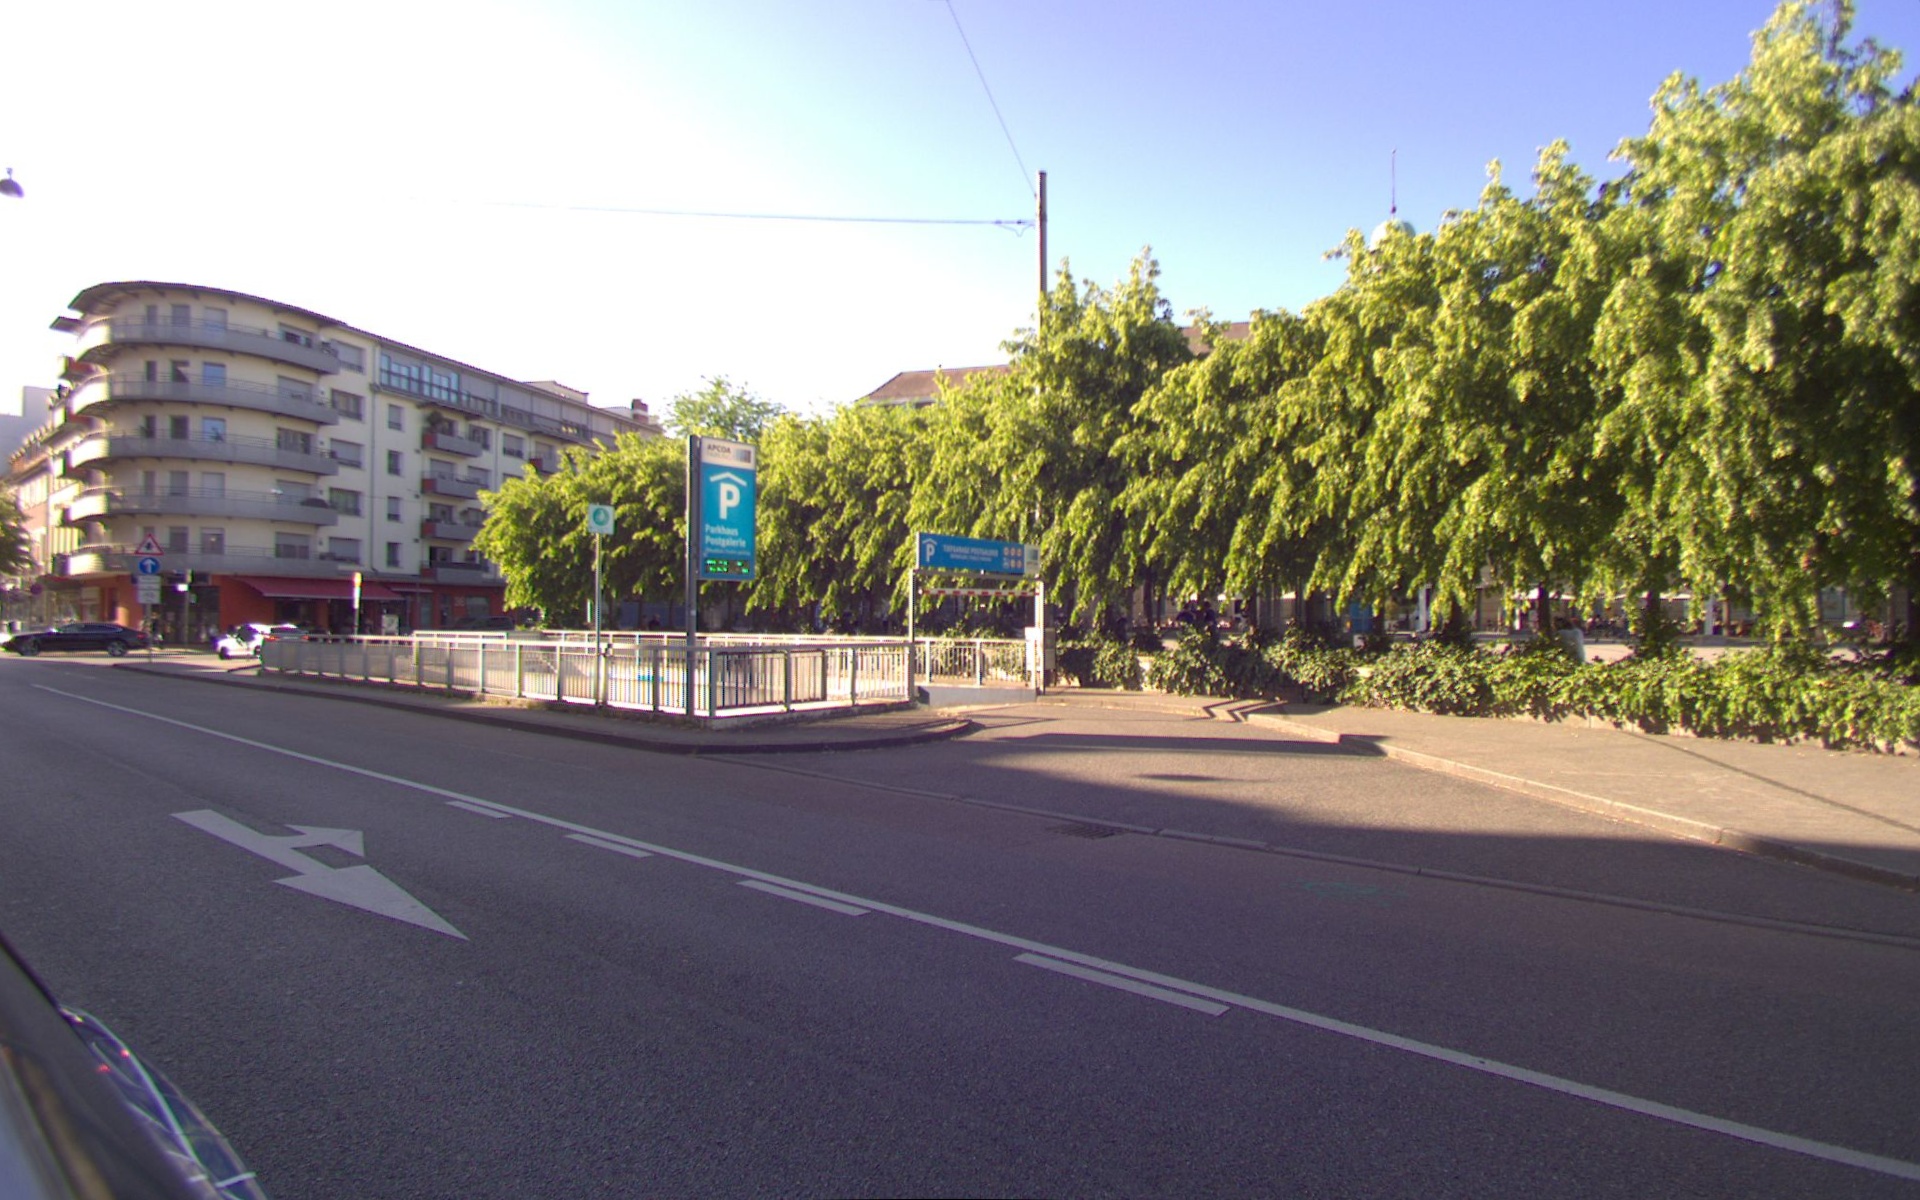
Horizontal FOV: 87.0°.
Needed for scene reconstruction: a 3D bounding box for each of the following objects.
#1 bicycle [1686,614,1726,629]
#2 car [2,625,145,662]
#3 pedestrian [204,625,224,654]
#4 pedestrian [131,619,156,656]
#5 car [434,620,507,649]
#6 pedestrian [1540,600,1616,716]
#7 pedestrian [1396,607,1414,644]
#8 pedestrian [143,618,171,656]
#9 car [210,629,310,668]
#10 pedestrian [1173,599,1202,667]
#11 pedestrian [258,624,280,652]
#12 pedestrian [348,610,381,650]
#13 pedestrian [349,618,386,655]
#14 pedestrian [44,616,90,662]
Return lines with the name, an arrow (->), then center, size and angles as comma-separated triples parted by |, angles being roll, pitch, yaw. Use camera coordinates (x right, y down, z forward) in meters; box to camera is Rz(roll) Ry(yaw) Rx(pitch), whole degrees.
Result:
bicycle -> 46.737, 1.341, 63.431 | 1.893, 0.961, 0.585 | -1, -1, 21
car -> -36.058, 1.721, 41.351 | 4.219, 1.394, 2.005 | 0, -1, -36
pedestrian -> -37.741, 1.986, 51.208 | 0.780, 1.472, 0.583 | 0, -1, -40
pedestrian -> -39.126, 1.798, 48.494 | 0.690, 1.719, 0.675 | -1, -1, 0
car -> -30.529, 2.129, 63.210 | 1.983, 1.763, 3.977 | -1, -1, 17
pedestrian -> 9.765, 0.894, 15.983 | 0.885, 1.771, 0.738 | 0, -1, -39
pedestrian -> 23.701, 1.330, 53.907 | 0.751, 1.948, 0.938 | -1, -1, 20
pedestrian -> -38.946, 1.771, 49.079 | 0.746, 1.819, 0.755 | -1, -1, -1
car -> -27.684, 1.866, 40.001 | 4.238, 1.445, 1.783 | -1, -1, 33
pedestrian -> 5.768, 0.836, 25.692 | 0.672, 1.683, 0.843 | -1, -1, 13
pedestrian -> -36.738, 2.024, 53.778 | 0.782, 1.473, 0.582 | 0, -1, 3
pedestrian -> -30.858, 1.565, 52.464 | 1.296, 2.029, 1.300 | 0, -1, -23
pedestrian -> -32.573, 1.996, 55.664 | 1.251, 2.029, 1.226 | -1, -1, 19
pedestrian -> -40.758, 1.755, 46.201 | 1.008, 2.029, 1.198 | -1, 0, 4
